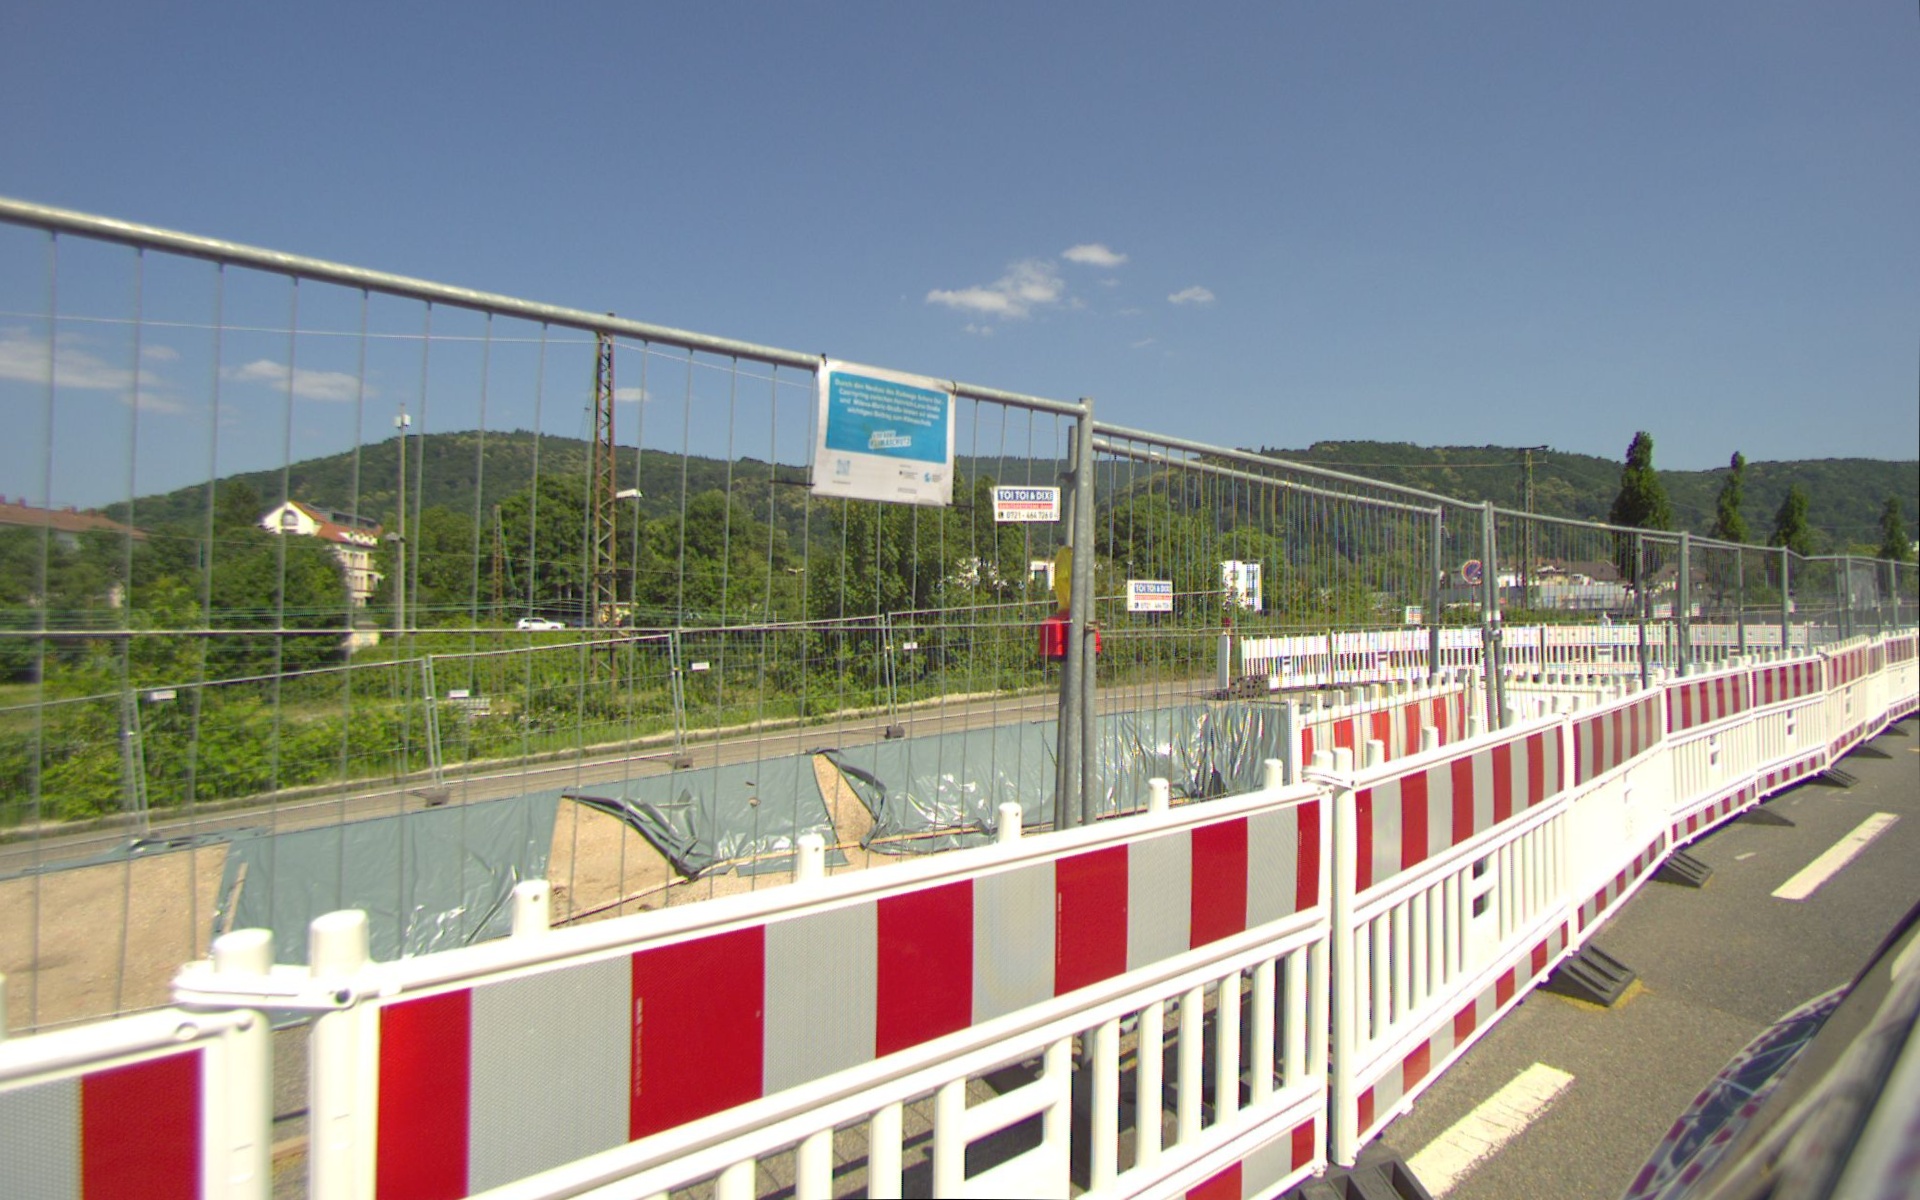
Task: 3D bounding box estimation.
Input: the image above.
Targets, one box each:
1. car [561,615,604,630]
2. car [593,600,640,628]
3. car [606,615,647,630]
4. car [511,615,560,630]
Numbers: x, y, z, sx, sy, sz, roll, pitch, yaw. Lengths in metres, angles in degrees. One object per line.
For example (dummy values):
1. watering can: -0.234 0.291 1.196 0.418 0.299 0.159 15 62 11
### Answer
1. car: -38.085 2.272 102.174 3.764 1.384 1.785 -1 -1 -8
2. car: -35.737 1.441 105.290 4.543 2.888 1.869 -1 -1 -16
3. car: -33.744 2.254 102.502 3.763 1.384 1.786 -1 -1 -11
4. car: -42.544 2.284 101.524 4.228 1.384 1.868 -1 -1 -7
